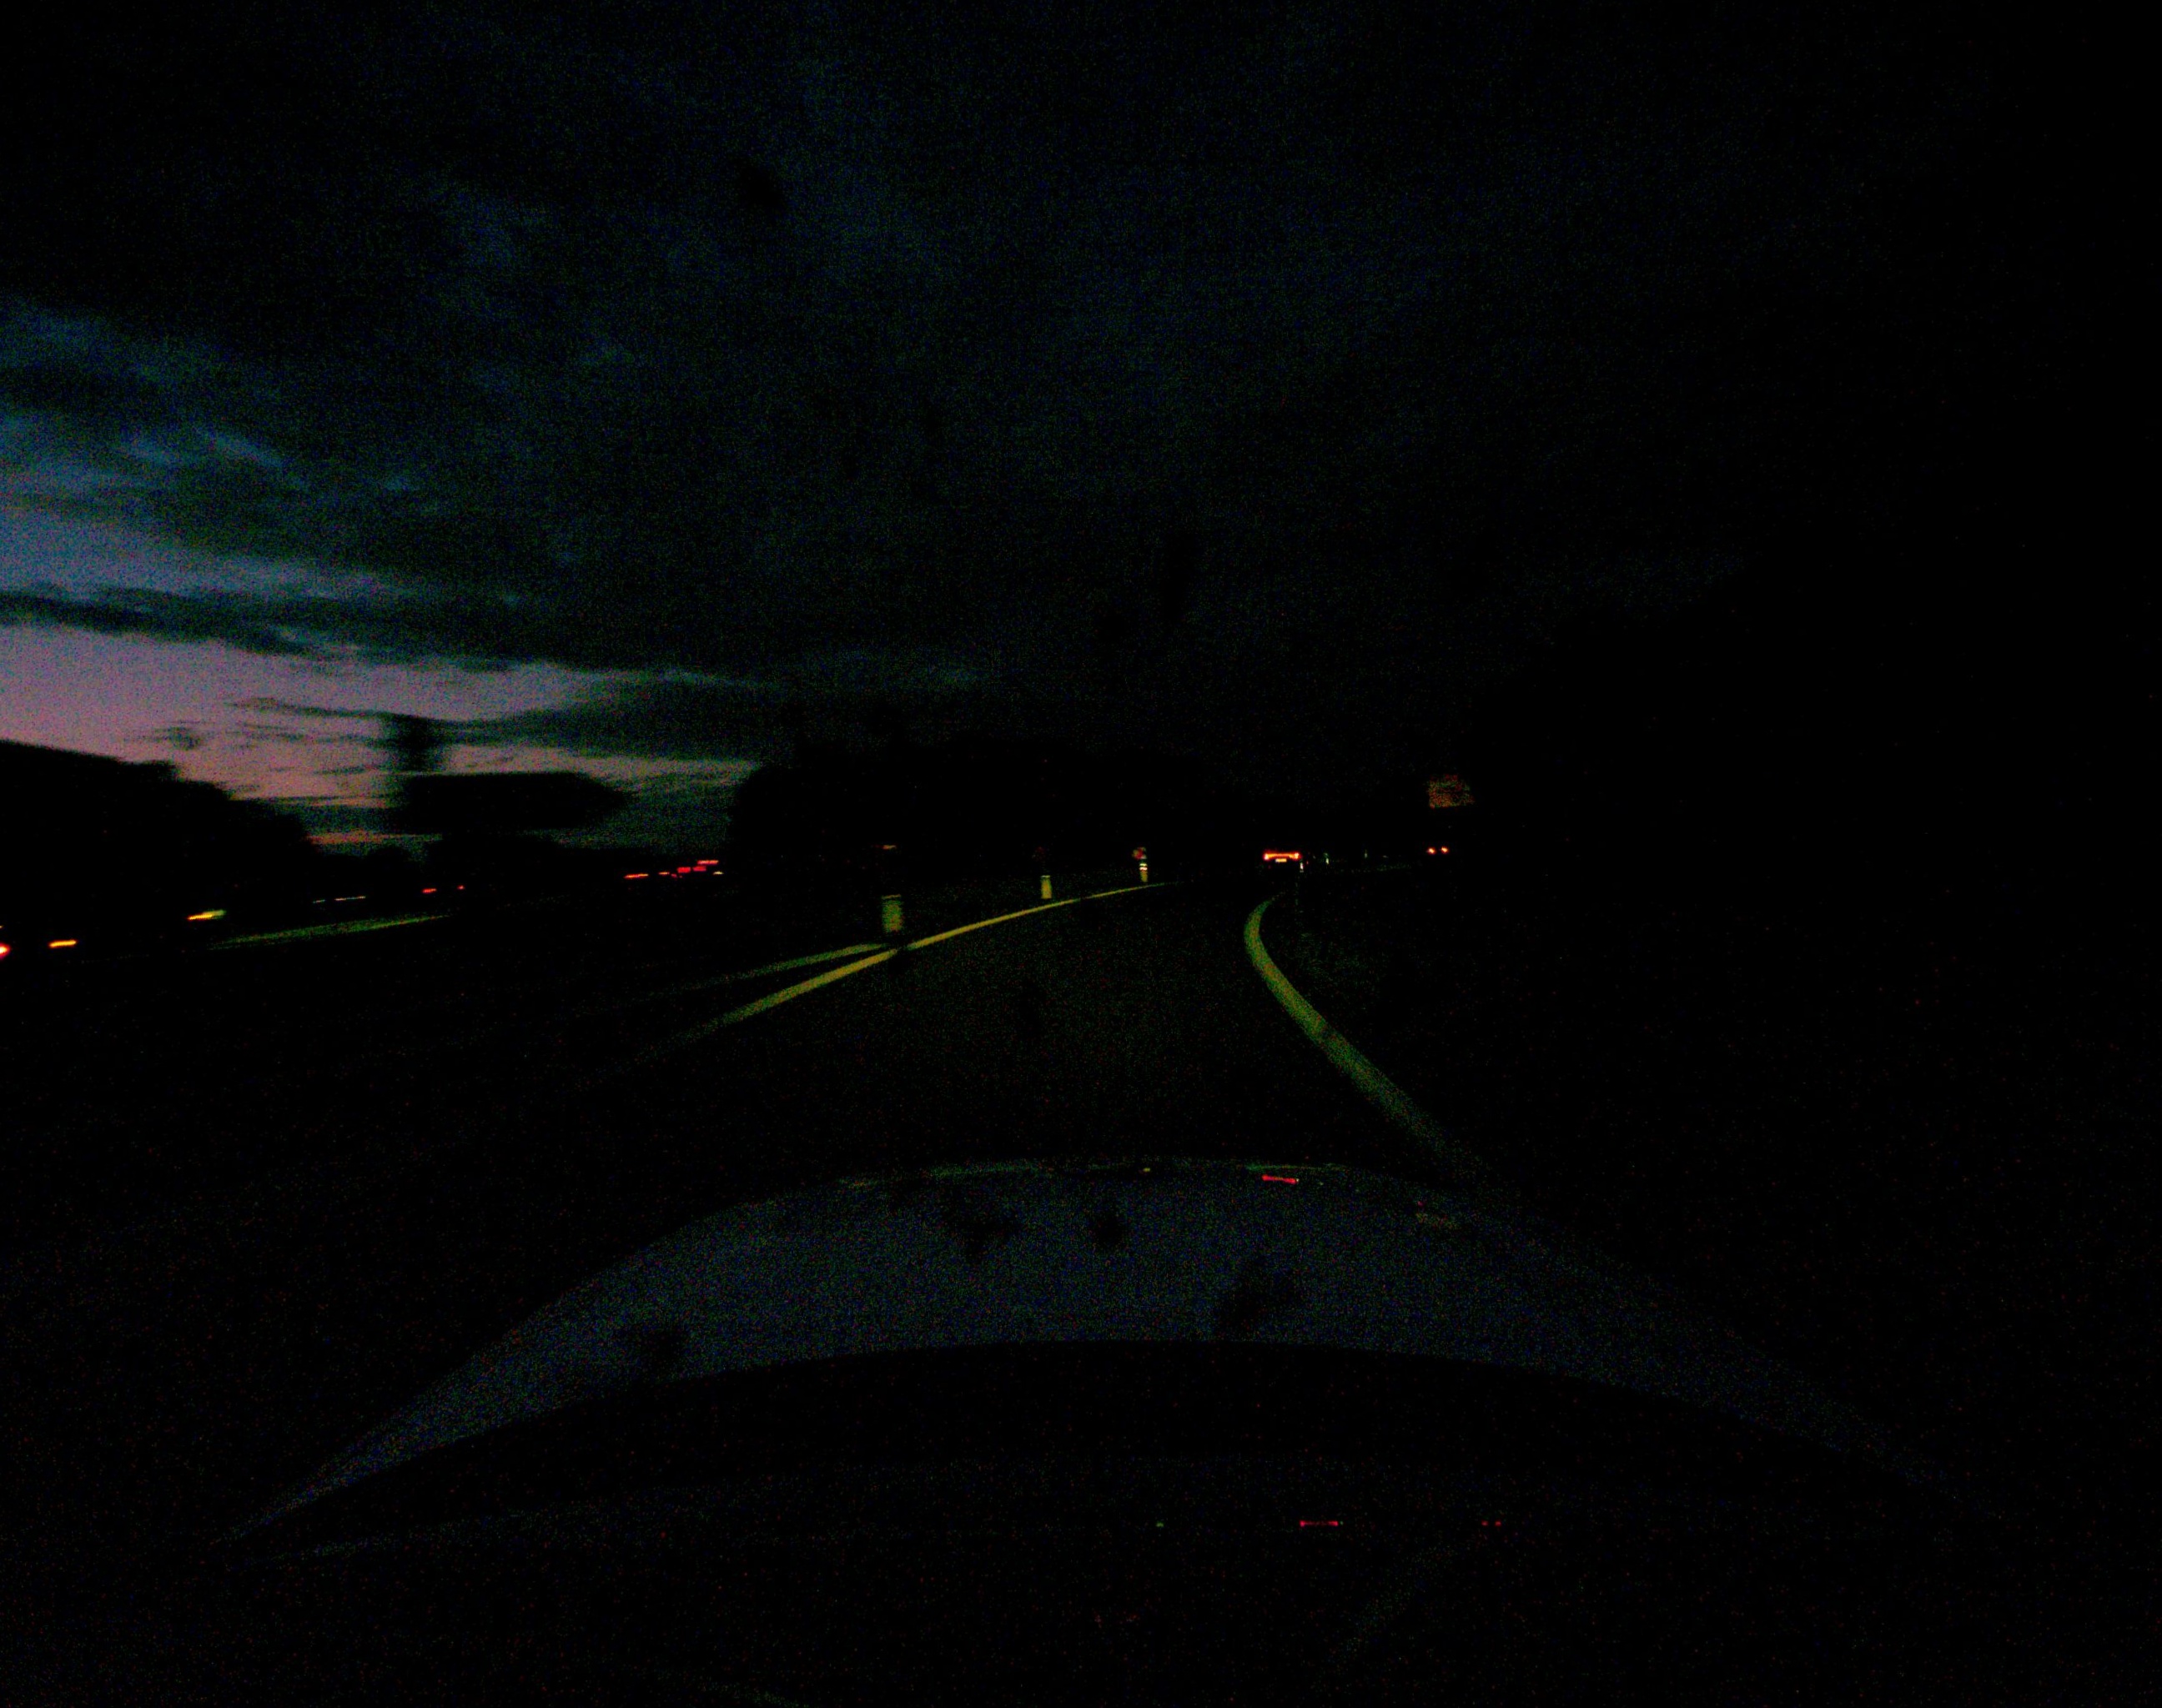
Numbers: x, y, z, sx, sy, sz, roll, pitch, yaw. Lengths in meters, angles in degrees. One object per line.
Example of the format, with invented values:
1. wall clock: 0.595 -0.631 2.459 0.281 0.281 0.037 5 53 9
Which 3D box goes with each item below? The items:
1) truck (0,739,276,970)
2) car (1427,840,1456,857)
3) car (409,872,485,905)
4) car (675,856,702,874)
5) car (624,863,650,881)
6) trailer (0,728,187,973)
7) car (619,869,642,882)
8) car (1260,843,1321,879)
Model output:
1. truck: -20.031 0.080 16.494 2.791 3.901 6.110 -6 2 -22
2. car: 34.772 -0.539 78.437 1.974 1.598 4.026 -1 0 32
3. car: -36.311 1.941 46.786 2.000 1.498 4.519 -5 2 -19
4. car: -50.326 1.420 104.360 2.278 2.013 5.090 -3 1 -34
5. car: -53.415 2.141 98.061 2.000 2.013 3.974 -5 2 -19
6. trailer: -17.266 0.040 9.393 2.785 3.914 14.713 -6 2 -21
7. car: -69.551 3.328 125.832 1.998 1.642 4.531 -6 2 -15
8. car: 10.224 0.305 39.499 1.975 1.659 4.340 -1 0 26
